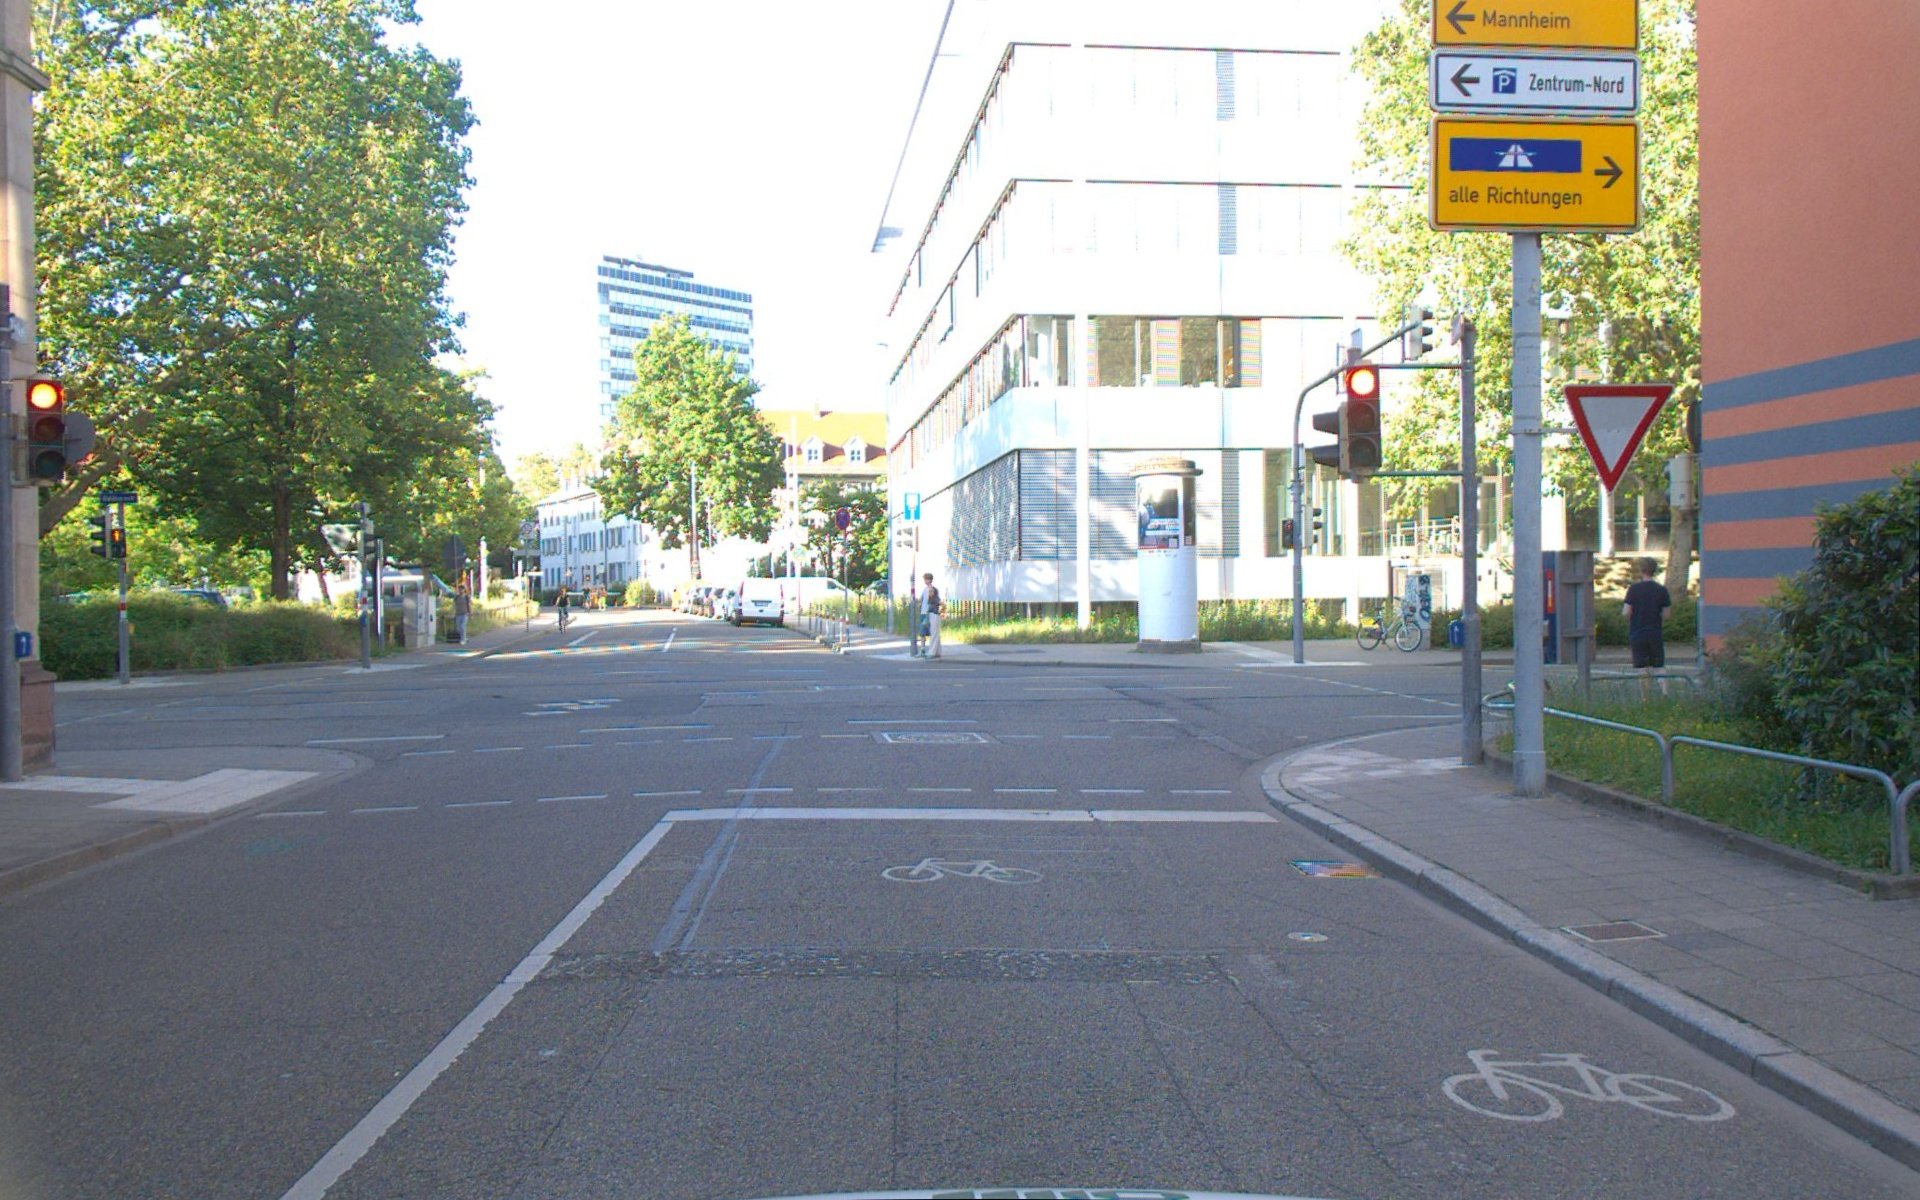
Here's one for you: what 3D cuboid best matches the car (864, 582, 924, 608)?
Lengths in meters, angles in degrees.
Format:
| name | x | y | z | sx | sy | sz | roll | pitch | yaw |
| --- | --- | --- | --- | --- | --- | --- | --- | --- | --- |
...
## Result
| name | x | y | z | sx | sy | sz | roll | pitch | yaw |
| --- | --- | --- | --- | --- | --- | --- | --- | --- | --- |
| car | -4.161 | -0.332 | 104.167 | 3.502 | 1.573 | 1.549 | -1 | 0 | -20 |

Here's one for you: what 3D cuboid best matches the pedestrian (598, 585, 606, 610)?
| name | x | y | z | sx | sy | sz | roll | pitch | yaw |
| --- | --- | --- | --- | --- | --- | --- | --- | --- | --- |
| pedestrian | -23.000 | -0.156 | 106.276 | 0.428 | 1.636 | 0.488 | -1 | 0 | -27 |

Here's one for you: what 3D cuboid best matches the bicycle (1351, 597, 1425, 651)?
| name | x | y | z | sx | sy | sz | roll | pitch | yaw |
| --- | --- | --- | --- | --- | --- | --- | --- | --- | --- |
| bicycle | 9.346 | 0.509 | 36.158 | 0.503 | 1.067 | 1.667 | -3 | 4 | -35 |

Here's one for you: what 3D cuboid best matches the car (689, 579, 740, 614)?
| name | x | y | z | sx | sy | sz | roll | pitch | yaw |
| --- | --- | --- | --- | --- | --- | --- | --- | --- | --- |
| car | -12.673 | -0.217 | 85.358 | 1.860 | 1.684 | 4.391 | 0 | 1 | -19 |

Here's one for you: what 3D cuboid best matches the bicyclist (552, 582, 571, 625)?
| name | x | y | z | sx | sy | sz | roll | pitch | yaw |
| --- | --- | --- | --- | --- | --- | --- | --- | --- | --- |
| bicyclist | -14.658 | 0.140 | 60.869 | 0.604 | 1.559 | 0.901 | -1 | 0 | -9 |

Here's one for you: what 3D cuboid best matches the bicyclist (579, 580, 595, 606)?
| name | x | y | z | sx | sy | sz | roll | pitch | yaw |
| --- | --- | --- | --- | --- | --- | --- | --- | --- | --- |
| bicyclist | -22.711 | -0.411 | 100.682 | 0.850 | 1.541 | 1.016 | -3 | 0 | -11 |

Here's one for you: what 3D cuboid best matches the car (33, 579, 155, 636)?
| name | x | y | z | sx | sy | sz | roll | pitch | yaw |
| --- | --- | --- | --- | --- | --- | --- | --- | --- | --- |
| car | -39.976 | 0.326 | 76.430 | 4.472 | 2.433 | 2.069 | -2 | 0 | -10 |

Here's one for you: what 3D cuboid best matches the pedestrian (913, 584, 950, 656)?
| name | x | y | z | sx | sy | sz | roll | pitch | yaw |
| --- | --- | --- | --- | --- | --- | --- | --- | --- | --- |
| pedestrian | -0.648 | 0.438 | 37.173 | 0.551 | 1.567 | 0.673 | -4 | 1 | -19 |

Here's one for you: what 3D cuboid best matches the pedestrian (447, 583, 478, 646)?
| name | x | y | z | sx | sy | sz | roll | pitch | yaw |
| --- | --- | --- | --- | --- | --- | --- | --- | --- | --- |
| pedestrian | -14.291 | 0.409 | 47.519 | 0.690 | 1.753 | 0.952 | -2 | 0 | -11 |

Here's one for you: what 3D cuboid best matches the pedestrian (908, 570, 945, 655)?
| name | x | y | z | sx | sy | sz | roll | pitch | yaw |
| --- | --- | --- | --- | --- | --- | --- | --- | --- | --- |
| pedestrian | -0.763 | 0.272 | 37.777 | 0.547 | 1.882 | 0.678 | -3 | 1 | 15 |

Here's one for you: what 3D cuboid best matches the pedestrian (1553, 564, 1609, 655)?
| name | x | y | z | sx | sy | sz | roll | pitch | yaw |
| --- | --- | --- | --- | --- | --- | --- | --- | --- | --- |
| pedestrian | 12.936 | 0.197 | 34.452 | 0.819 | 1.872 | 0.707 | 1 | 0 | -11 |

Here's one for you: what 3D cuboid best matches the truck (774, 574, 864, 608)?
| name | x | y | z | sx | sy | sz | roll | pitch | yaw |
| --- | --- | --- | --- | --- | --- | --- | --- | --- | --- |
| truck | -8.775 | -0.550 | 102.912 | 5.258 | 2.049 | 1.989 | -1 | 0 | -20 |

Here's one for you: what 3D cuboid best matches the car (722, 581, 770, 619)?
| name | x | y | z | sx | sy | sz | roll | pitch | yaw |
| --- | --- | --- | --- | --- | --- | --- | --- | --- | --- |
| car | -9.441 | -0.018 | 72.786 | 1.854 | 1.582 | 4.404 | 0 | 1 | -10 |

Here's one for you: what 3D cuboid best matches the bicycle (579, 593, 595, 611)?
| name | x | y | z | sx | sy | sz | roll | pitch | yaw |
| --- | --- | --- | --- | --- | --- | --- | --- | --- | --- |
| bicycle | -22.688 | 0.097 | 100.667 | 0.850 | 1.027 | 2.408 | -3 | 0 | -11 |

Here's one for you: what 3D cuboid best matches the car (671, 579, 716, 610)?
| name | x | y | z | sx | sy | sz | roll | pitch | yaw |
| --- | --- | --- | --- | --- | --- | --- | --- | --- | --- |
| car | -15.346 | -0.328 | 95.254 | 1.860 | 1.684 | 4.391 | 0 | 1 | -19 |

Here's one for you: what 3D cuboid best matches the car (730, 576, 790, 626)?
| name | x | y | z | sx | sy | sz | roll | pitch | yaw |
| --- | --- | --- | --- | --- | --- | --- | --- | --- | --- |
| car | -7.848 | -0.004 | 64.599 | 2.047 | 1.827 | 4.404 | 0 | 1 | -10 |

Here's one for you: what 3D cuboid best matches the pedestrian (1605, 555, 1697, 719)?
| name | x | y | z | sx | sy | sz | roll | pitch | yaw |
| --- | --- | --- | --- | --- | --- | --- | --- | --- | --- |
| pedestrian | 8.091 | 0.417 | 19.406 | 0.692 | 1.872 | 0.837 | 1 | 0 | -1 |

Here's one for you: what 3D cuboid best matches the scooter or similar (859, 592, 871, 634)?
| name | x | y | z | sx | sy | sz | roll | pitch | yaw |
| --- | --- | --- | --- | --- | --- | --- | --- | --- | --- |
| scooter or similar | -3.366 | 0.447 | 58.499 | 0.324 | 1.449 | 1.333 | 1 | 0 | -6 |

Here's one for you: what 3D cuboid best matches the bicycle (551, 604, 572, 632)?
| name | x | y | z | sx | sy | sz | roll | pitch | yaw |
| --- | --- | --- | --- | --- | --- | --- | --- | --- | --- |
| bicycle | -14.648 | 0.670 | 60.858 | 0.604 | 0.986 | 1.837 | -1 | 1 | -9 |

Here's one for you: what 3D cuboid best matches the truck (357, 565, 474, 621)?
| name | x | y | z | sx | sy | sz | roll | pitch | yaw |
| --- | --- | --- | --- | --- | --- | --- | --- | --- | --- |
| truck | -24.564 | -0.326 | 74.746 | 4.741 | 2.441 | 2.082 | 0 | 1 | -11 |

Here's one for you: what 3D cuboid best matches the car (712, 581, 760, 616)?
| name | x | y | z | sx | sy | sz | roll | pitch | yaw |
| --- | --- | --- | --- | --- | --- | --- | --- | --- | --- |
| car | -10.609 | -0.093 | 78.140 | 1.856 | 1.582 | 4.400 | 0 | 1 | -14 |
